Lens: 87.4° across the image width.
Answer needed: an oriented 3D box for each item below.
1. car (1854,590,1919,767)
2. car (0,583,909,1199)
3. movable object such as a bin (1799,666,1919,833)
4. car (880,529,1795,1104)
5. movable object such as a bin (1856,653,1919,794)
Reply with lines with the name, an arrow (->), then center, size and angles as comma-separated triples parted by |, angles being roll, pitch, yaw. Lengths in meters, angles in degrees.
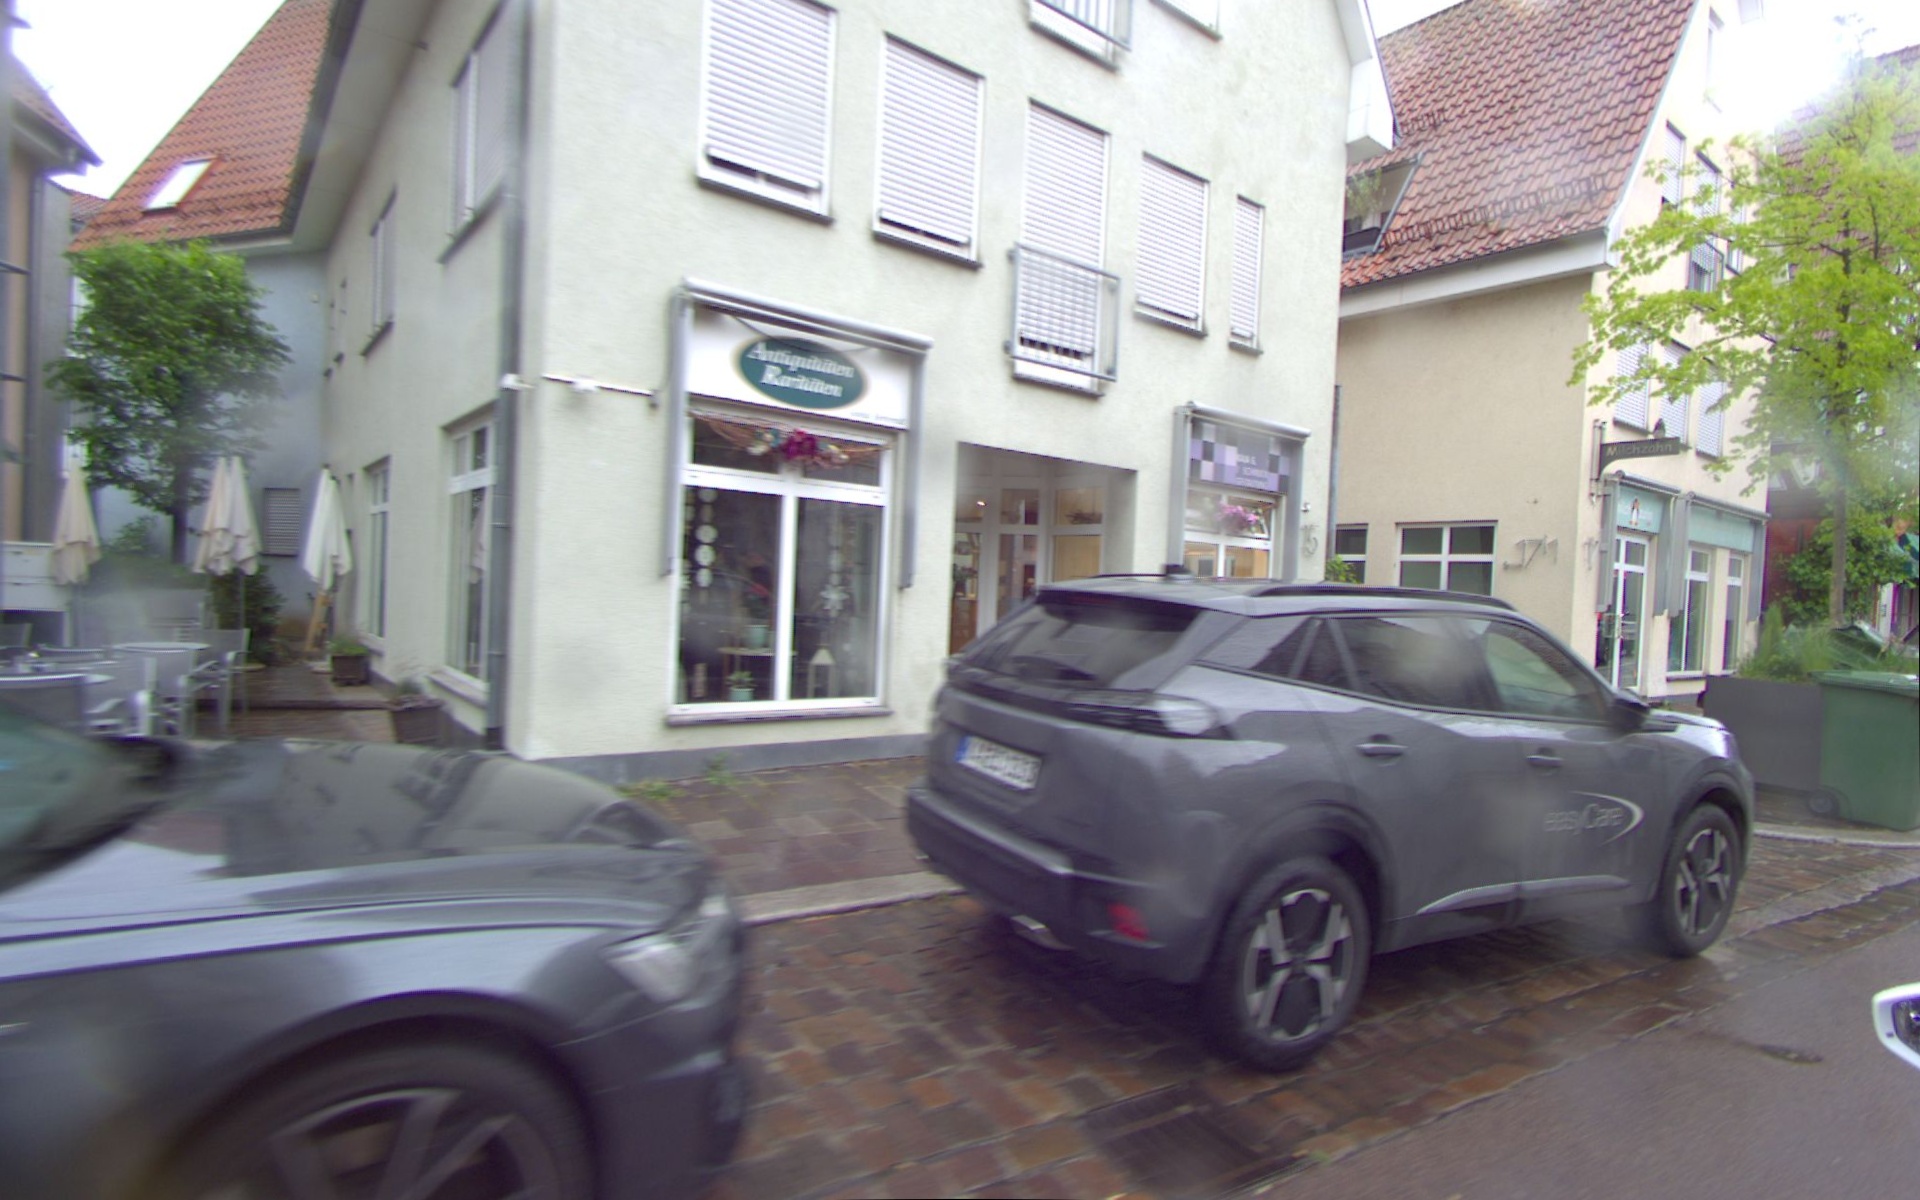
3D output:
car -> 11.478, 0.896, 10.530 | 4.426, 1.697, 1.763 | 3, 1, -30
car -> -2.511, 0.678, 1.622 | 4.583, 1.451, 1.789 | 3, 0, -36
movable object such as a bin -> 6.669, 1.056, 7.310 | 0.716, 1.093, 0.618 | 3, 0, -29
car -> 1.790, 0.667, 4.411 | 3.930, 1.566, 1.585 | 3, 0, -30
movable object such as a bin -> 8.763, 1.120, 9.087 | 0.740, 1.217, 0.741 | 3, 0, -29
